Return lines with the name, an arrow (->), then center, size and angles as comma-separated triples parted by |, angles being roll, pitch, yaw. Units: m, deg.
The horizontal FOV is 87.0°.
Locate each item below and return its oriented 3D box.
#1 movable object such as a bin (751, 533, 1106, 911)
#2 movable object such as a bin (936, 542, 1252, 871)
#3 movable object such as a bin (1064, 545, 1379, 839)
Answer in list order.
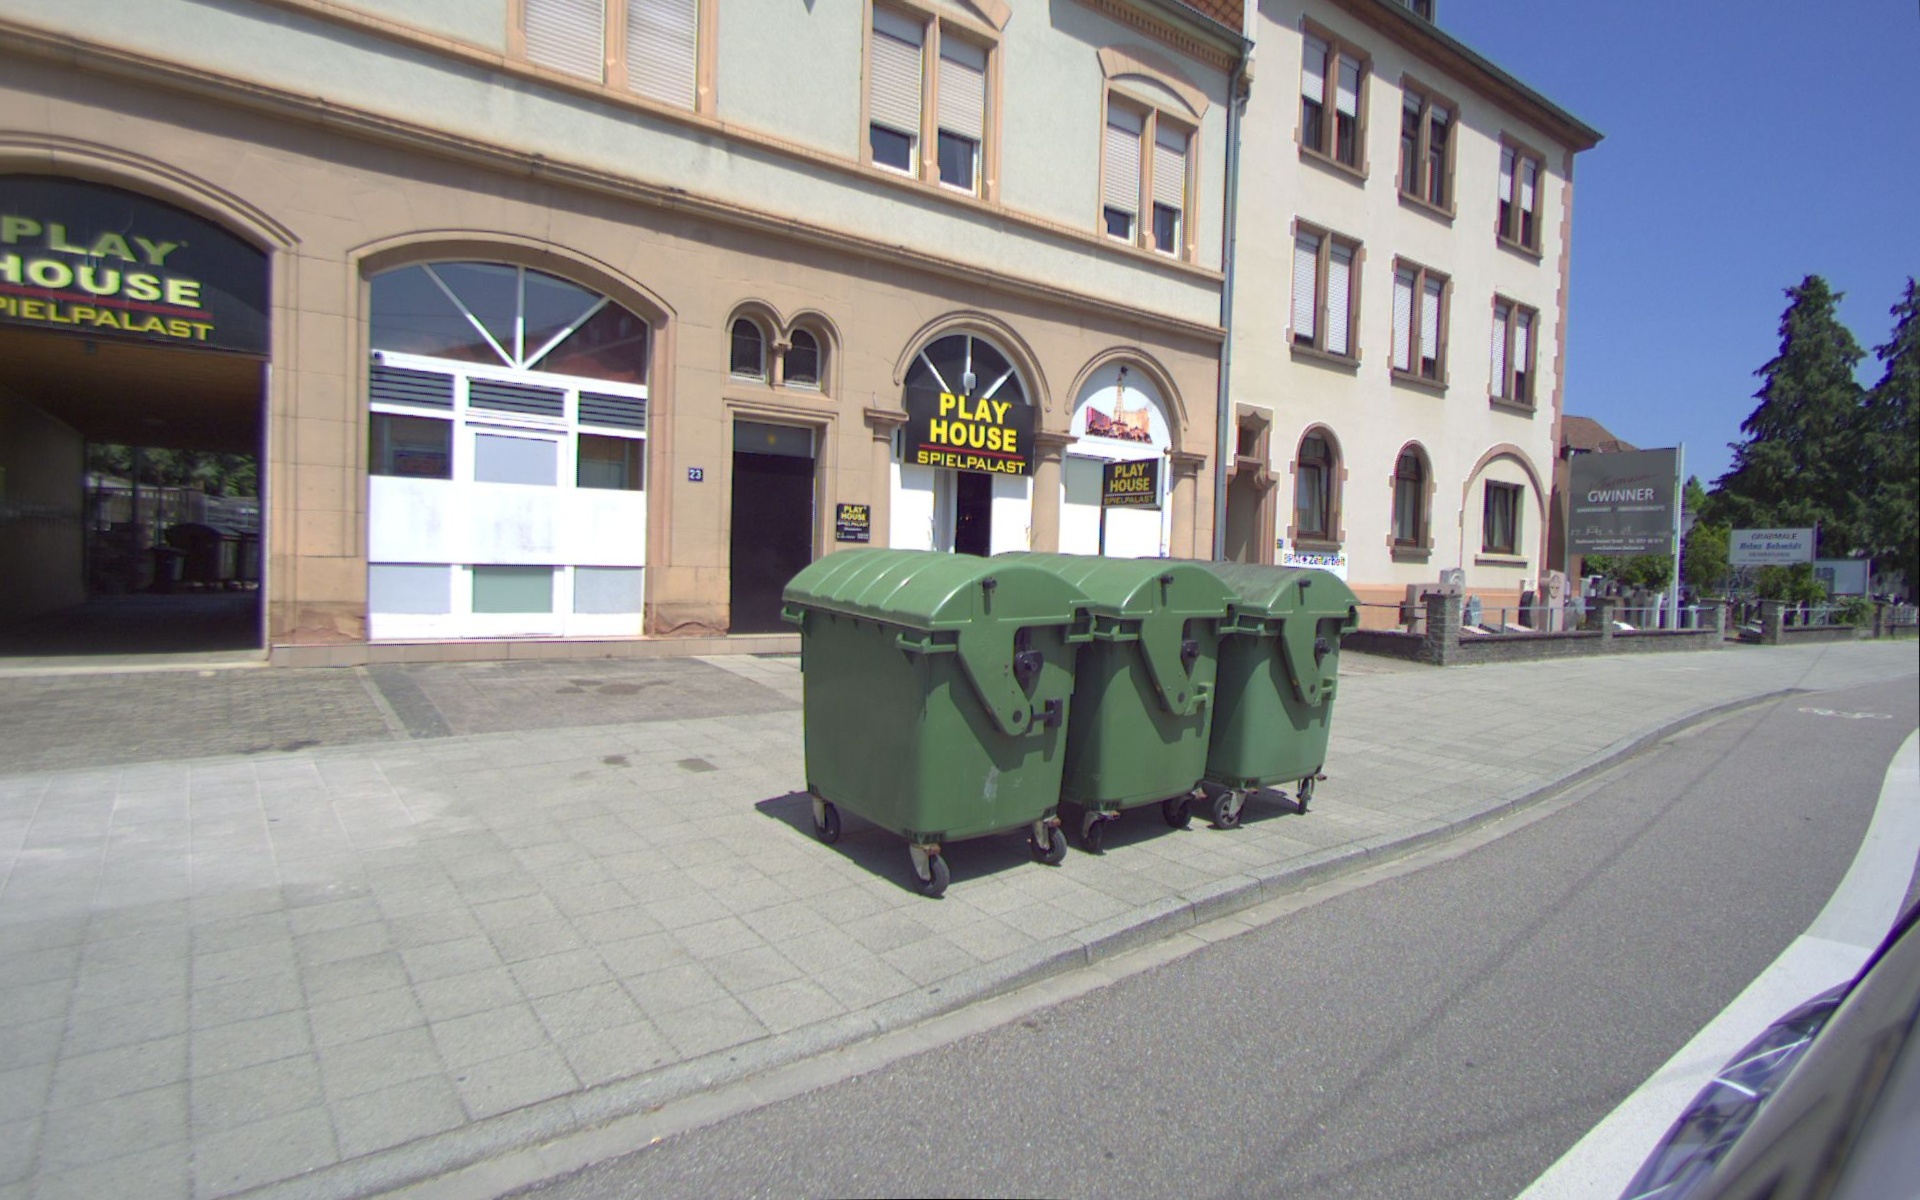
movable object such as a bin -> -0.181, 0.457, 4.870 | 1.040, 1.472, 1.326 | 0, 4, -42
movable object such as a bin -> 0.700, 0.465, 5.468 | 1.040, 1.472, 1.250 | 0, 4, -42
movable object such as a bin -> 1.559, 0.452, 6.139 | 1.120, 1.472, 1.394 | 0, 4, -42
